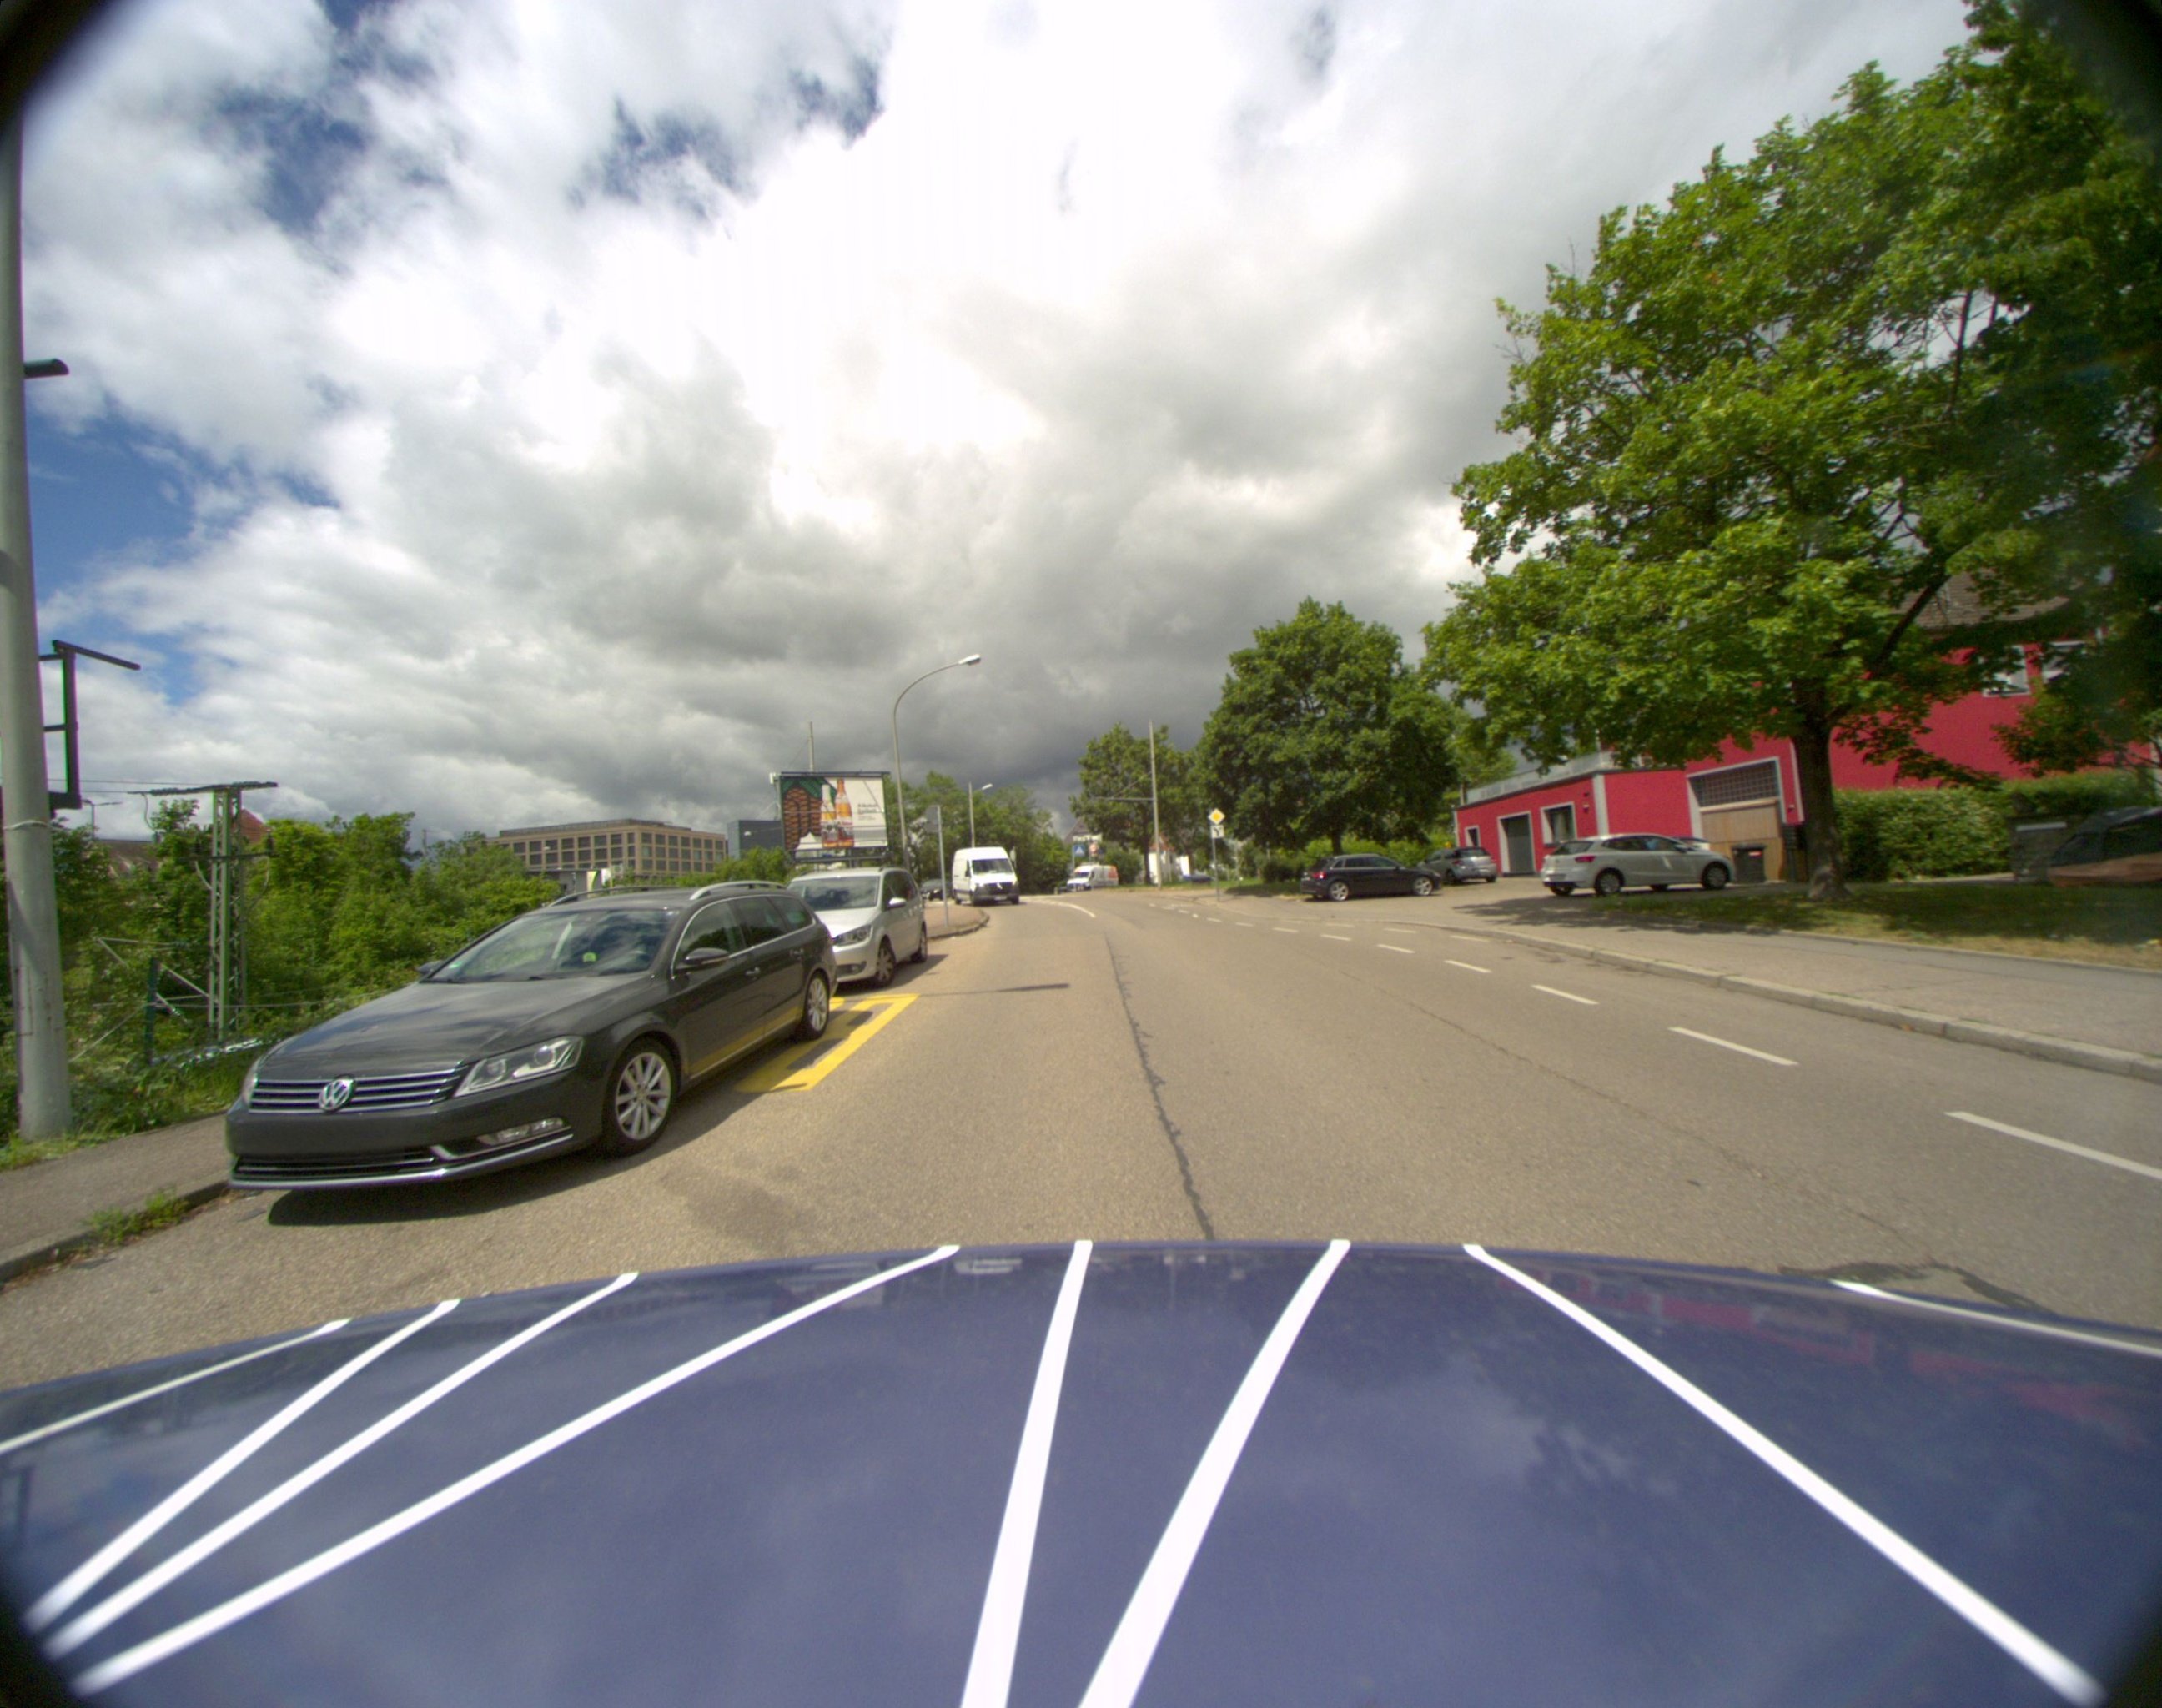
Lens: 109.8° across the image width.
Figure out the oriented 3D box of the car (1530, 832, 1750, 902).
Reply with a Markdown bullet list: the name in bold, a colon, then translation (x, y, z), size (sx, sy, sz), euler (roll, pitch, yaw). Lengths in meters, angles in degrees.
- **car**: translation (13.265, 0.294, 18.190), size (3.930, 1.395, 1.876), euler (-3, -1, -4)

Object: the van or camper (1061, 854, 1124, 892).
- **van or camper**: translation (1.175, 1.825, 69.445), size (2.267, 2.975, 8.347), euler (-5, -6, 26)

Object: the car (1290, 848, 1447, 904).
- **car**: translation (8.977, 0.695, 23.994), size (4.141, 1.385, 2.000), euler (-4, -1, -1)

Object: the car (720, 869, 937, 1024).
- **car**: translation (-3.386, 1.134, 11.126), size (1.710, 1.668, 4.308), euler (-4, -1, -1)

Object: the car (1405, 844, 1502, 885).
- **car**: translation (14.626, 0.421, 30.097), size (1.644, 1.417, 4.078), euler (-4, -1, -1)

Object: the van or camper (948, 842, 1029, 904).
- **van or camper**: translation (-4.299, 0.935, 34.312), size (2.196, 2.550, 5.921), euler (-1, -3, -21)

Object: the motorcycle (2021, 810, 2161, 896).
- **motorcycle**: translation (17.149, -0.035, 12.316), size (0.920, 1.308, 2.235), euler (-4, 0, -2)

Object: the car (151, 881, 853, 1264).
- **car**: translation (-3.258, 1.047, 5.672), size (1.710, 1.478, 4.573), euler (-4, -1, -1)

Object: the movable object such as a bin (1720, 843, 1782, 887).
- **movable object such as a bin**: translation (17.211, 0.271, 19.538), size (0.757, 1.055, 0.881), euler (-4, 0, 3)

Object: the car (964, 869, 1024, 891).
- **car**: translation (-6.785, 2.023, 59.627), size (1.995, 1.577, 4.411), euler (-6, -5, 40)
